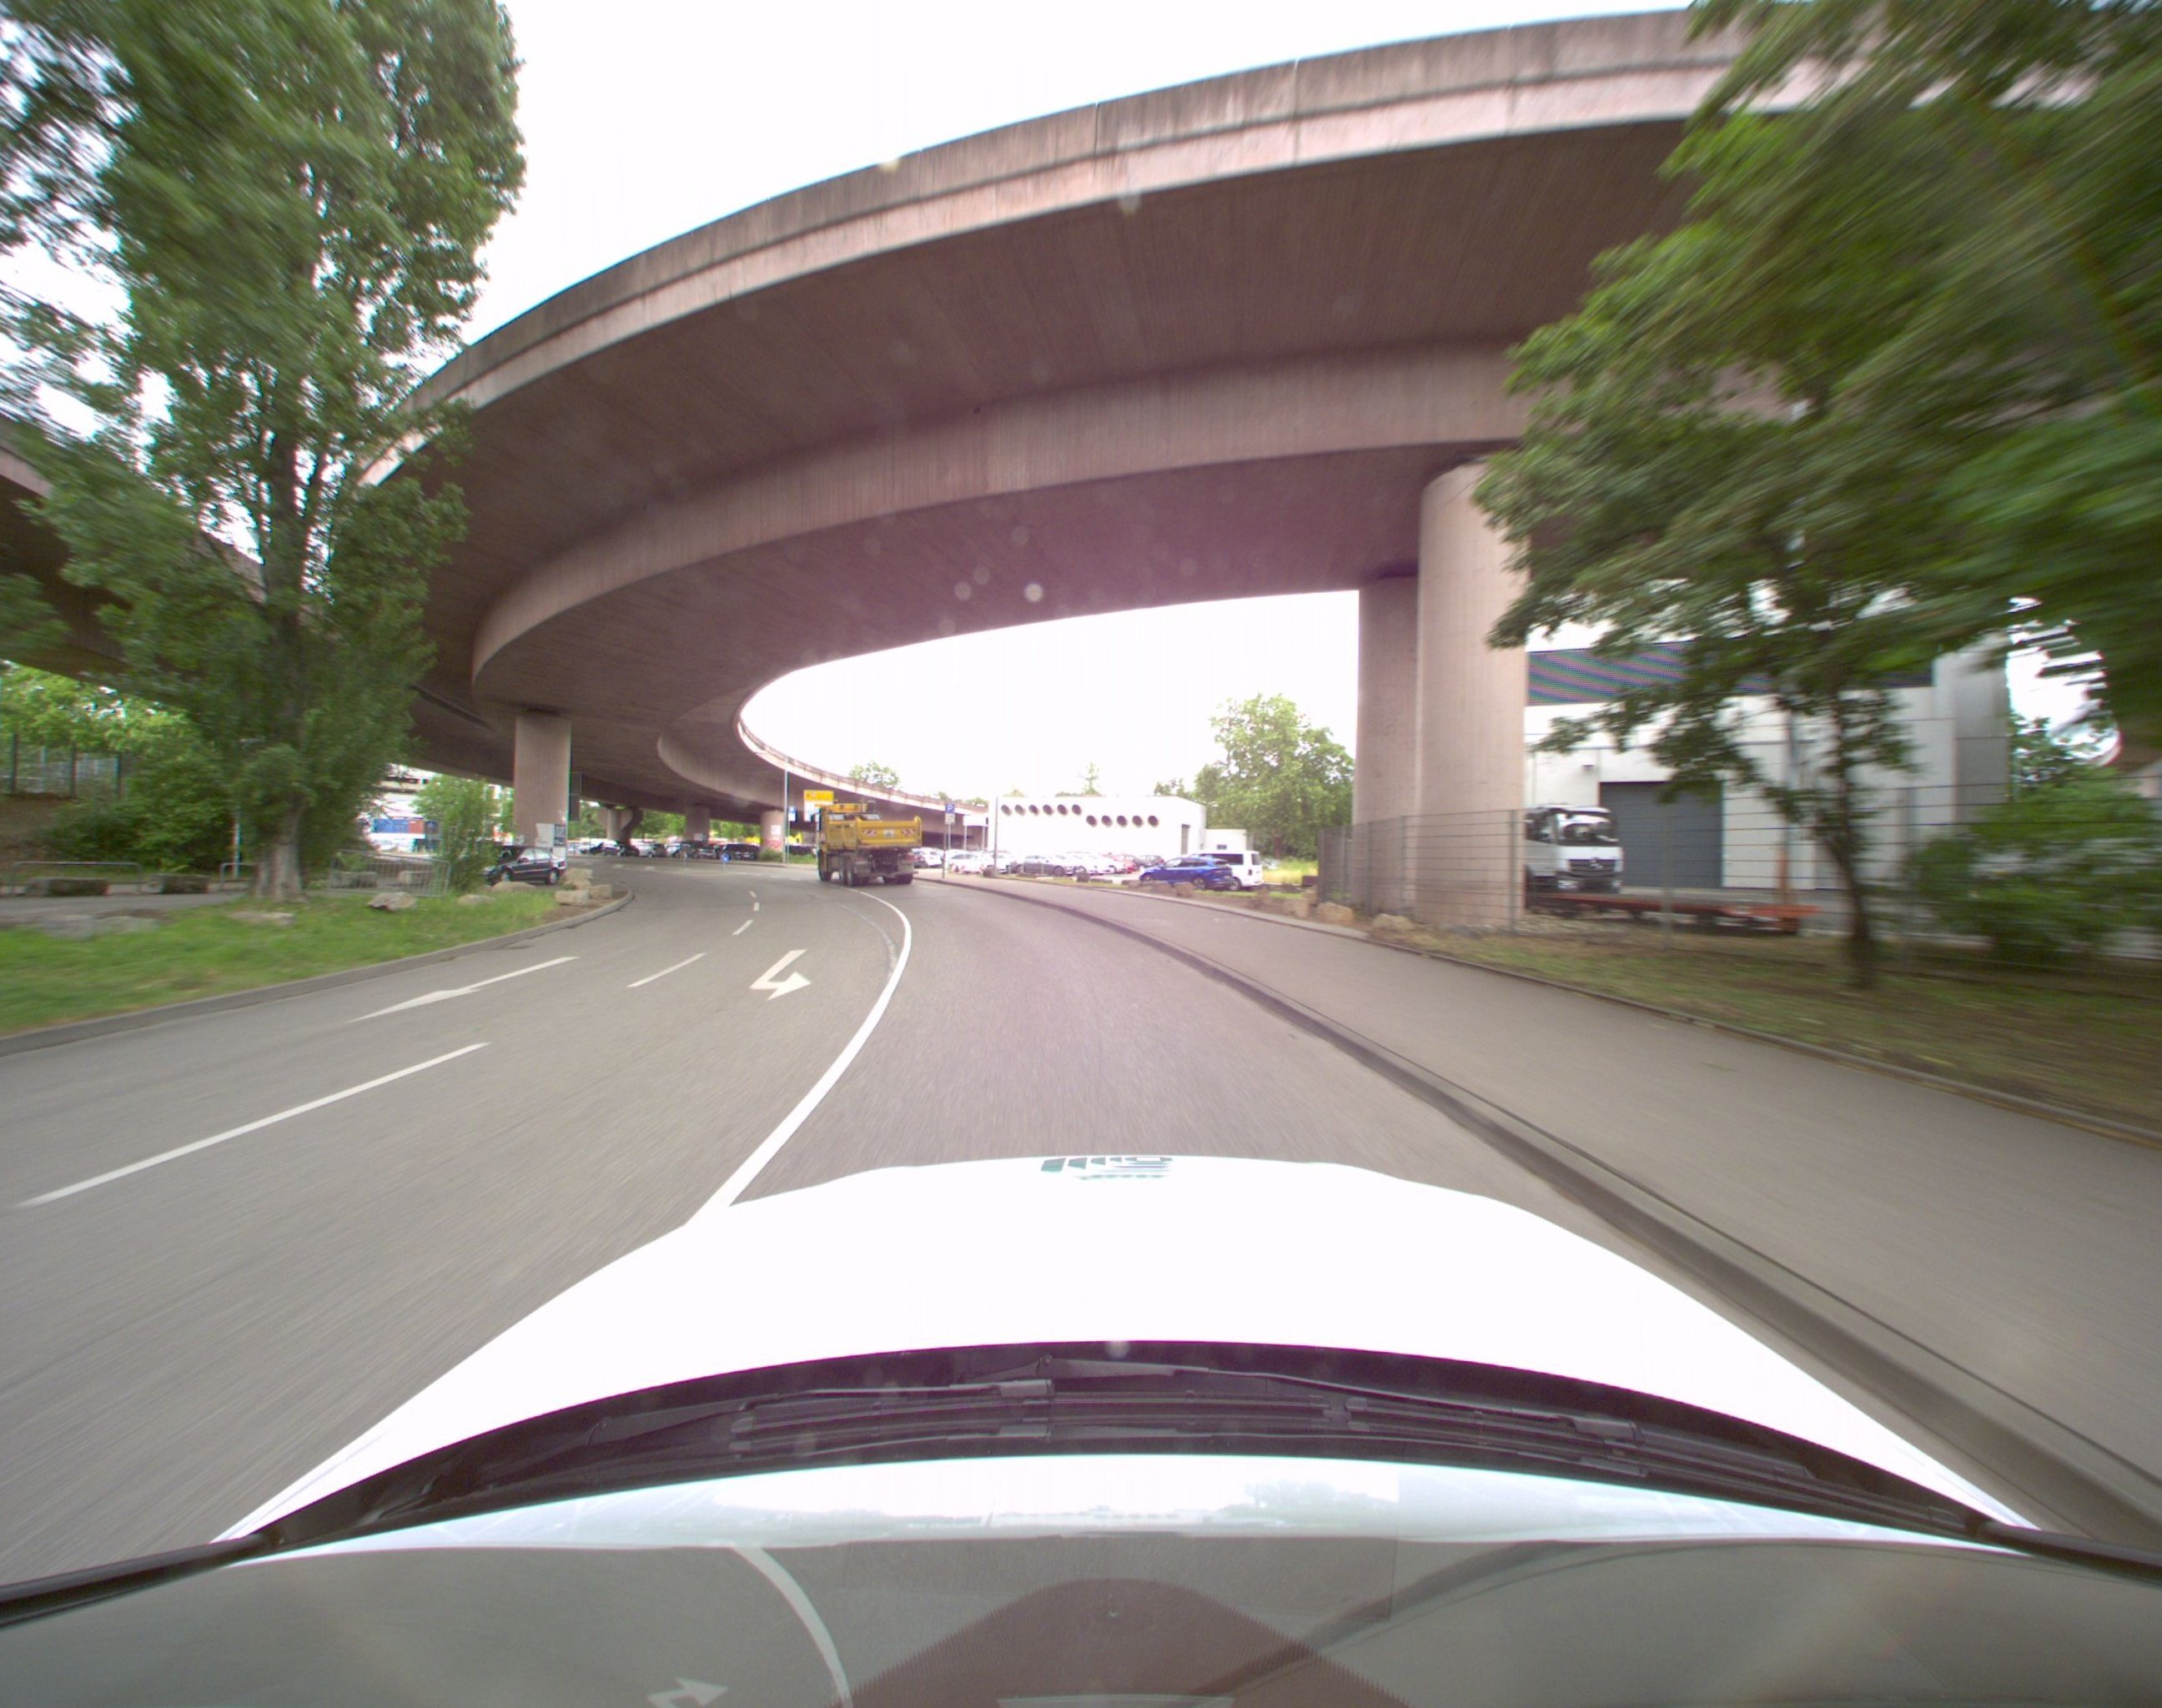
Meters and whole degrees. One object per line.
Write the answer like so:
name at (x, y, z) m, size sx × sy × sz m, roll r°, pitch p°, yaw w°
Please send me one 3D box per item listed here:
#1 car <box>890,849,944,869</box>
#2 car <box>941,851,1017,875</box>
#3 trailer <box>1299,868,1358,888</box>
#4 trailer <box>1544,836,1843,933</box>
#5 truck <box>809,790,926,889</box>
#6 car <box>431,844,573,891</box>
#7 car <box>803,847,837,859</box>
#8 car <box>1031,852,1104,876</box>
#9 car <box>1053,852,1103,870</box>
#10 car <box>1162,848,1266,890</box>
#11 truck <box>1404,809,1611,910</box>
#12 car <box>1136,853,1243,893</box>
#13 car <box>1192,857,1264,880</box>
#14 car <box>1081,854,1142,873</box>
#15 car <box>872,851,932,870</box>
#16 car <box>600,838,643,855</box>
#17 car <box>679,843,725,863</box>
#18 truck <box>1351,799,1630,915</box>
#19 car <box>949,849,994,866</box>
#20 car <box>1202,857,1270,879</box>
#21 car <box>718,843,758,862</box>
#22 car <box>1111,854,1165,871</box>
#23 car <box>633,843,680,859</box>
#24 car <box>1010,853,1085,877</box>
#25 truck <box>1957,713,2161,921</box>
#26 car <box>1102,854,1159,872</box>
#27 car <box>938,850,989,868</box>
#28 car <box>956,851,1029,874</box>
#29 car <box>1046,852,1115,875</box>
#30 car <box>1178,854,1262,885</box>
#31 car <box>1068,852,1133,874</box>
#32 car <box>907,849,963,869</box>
car at (-13.533, 0.407, 67.314) m, size 4.039 × 1.557 × 1.766 m, roll 1°, pitch 0°, yaw 21°
car at (-6.780, 0.553, 54.133) m, size 4.630 × 1.475 × 1.869 m, roll 1°, pitch 0°, yaw 24°
trailer at (11.459, 1.113, 37.700) m, size 2.531 × 0.899 × 1.491 m, roll -1°, pitch -1°, yaw 20°
trailer at (9.773, 0.440, 13.528) m, size 1.596 × 1.331 × 4.379 m, roll 0°, pitch 0°, yaw -2°
truck at (-9.270, -0.619, 34.618) m, size 2.775 × 3.698 × 7.805 m, roll -2°, pitch 1°, yaw -30°
car at (-20.391, 0.441, 28.982) m, size 1.819 × 1.430 × 4.767 m, roll 3°, pitch 0°, yaw -4°
car at (-33.306, -0.137, 103.992) m, size 3.821 × 1.478 × 1.765 m, roll 1°, pitch 0°, yaw 14°
car at (-0.900, 0.648, 54.596) m, size 4.446 × 1.513 × 1.849 m, roll 1°, pitch 0°, yaw 24°
car at (-0.268, 0.596, 69.857) m, size 3.929 × 1.392 × 1.778 m, roll 1°, pitch 0°, yaw 22°
car at (6.471, 0.688, 39.882) m, size 4.620 × 1.957 × 1.906 m, roll 1°, pitch 0°, yaw 30°
truck at (13.671, 0.160, 26.711) m, size 2.457 × 2.886 × 6.083 m, roll 1°, pitch 0°, yaw -17°
car at (4.926, 0.822, 37.367) m, size 4.625 × 1.634 × 1.787 m, roll 1°, pitch 0°, yaw 40°
car at (9.564, 0.937, 53.062) m, size 4.307 × 1.384 × 1.786 m, roll 1°, pitch 0°, yaw 25°
car at (2.374, 0.715, 63.861) m, size 4.388 × 1.425 × 1.849 m, roll 1°, pitch 0°, yaw 24°
car at (-14.284, 0.483, 64.979) m, size 4.406 × 1.449 × 1.766 m, roll 1°, pitch 0°, yaw 21°
car at (-39.746, -0.636, 70.401) m, size 3.534 × 1.397 × 1.621 m, roll 1°, pitch -2°, yaw 31°
car at (-30.249, -0.077, 64.995) m, size 3.366 × 1.533 × 1.621 m, roll 1°, pitch -2°, yaw 31°
truck at (11.043, 0.066, 22.944) m, size 2.427 × 2.744 × 7.181 m, roll 1°, pitch 0°, yaw -23°
car at (-11.030, 0.348, 82.045) m, size 4.142 × 1.592 × 1.848 m, roll 1°, pitch 0°, yaw 21°
car at (10.581, 0.931, 55.547) m, size 4.311 × 1.456 × 1.784 m, roll 1°, pitch 0°, yaw 19°
car at (-29.890, -0.083, 70.948) m, size 3.811 × 1.507 × 1.801 m, roll -1°, pitch -3°, yaw 44°
car at (5.024, 0.713, 72.143) m, size 4.388 × 1.425 × 1.849 m, roll 1°, pitch 0°, yaw 24°
car at (-41.244, -0.273, 79.100) m, size 3.966 × 1.552 × 1.646 m, roll 1°, pitch 0°, yaw 18°
car at (-2.146, 0.679, 52.185) m, size 4.388 × 1.425 × 1.849 m, roll 1°, pitch 0°, yaw 24°
truck at (25.283, -0.727, 18.310) m, size 3.866 × 4.365 × 10.192 m, roll 1°, pitch 0°, yaw 24°
car at (4.131, 0.723, 68.292) m, size 4.388 × 1.425 × 1.849 m, roll 1°, pitch 0°, yaw 24°
car at (-10.628, 0.470, 73.863) m, size 4.211 × 1.509 × 1.718 m, roll 1°, pitch 0°, yaw 21°
car at (-6.160, 0.547, 56.624) m, size 4.631 × 1.475 × 1.868 m, roll 1°, pitch 0°, yaw 22°
car at (-0.068, 0.637, 57.187) m, size 4.446 × 1.513 × 1.849 m, roll 1°, pitch 0°, yaw 24°
car at (7.798, 0.833, 45.725) m, size 4.308 × 1.588 × 1.785 m, roll 1°, pitch 0°, yaw 23°
car at (1.462, 0.657, 61.449) m, size 4.446 × 1.513 × 1.849 m, roll 1°, pitch 0°, yaw 24°
car at (-12.480, 0.413, 69.600) m, size 4.380 × 1.691 × 1.766 m, roll 1°, pitch 0°, yaw 21°
